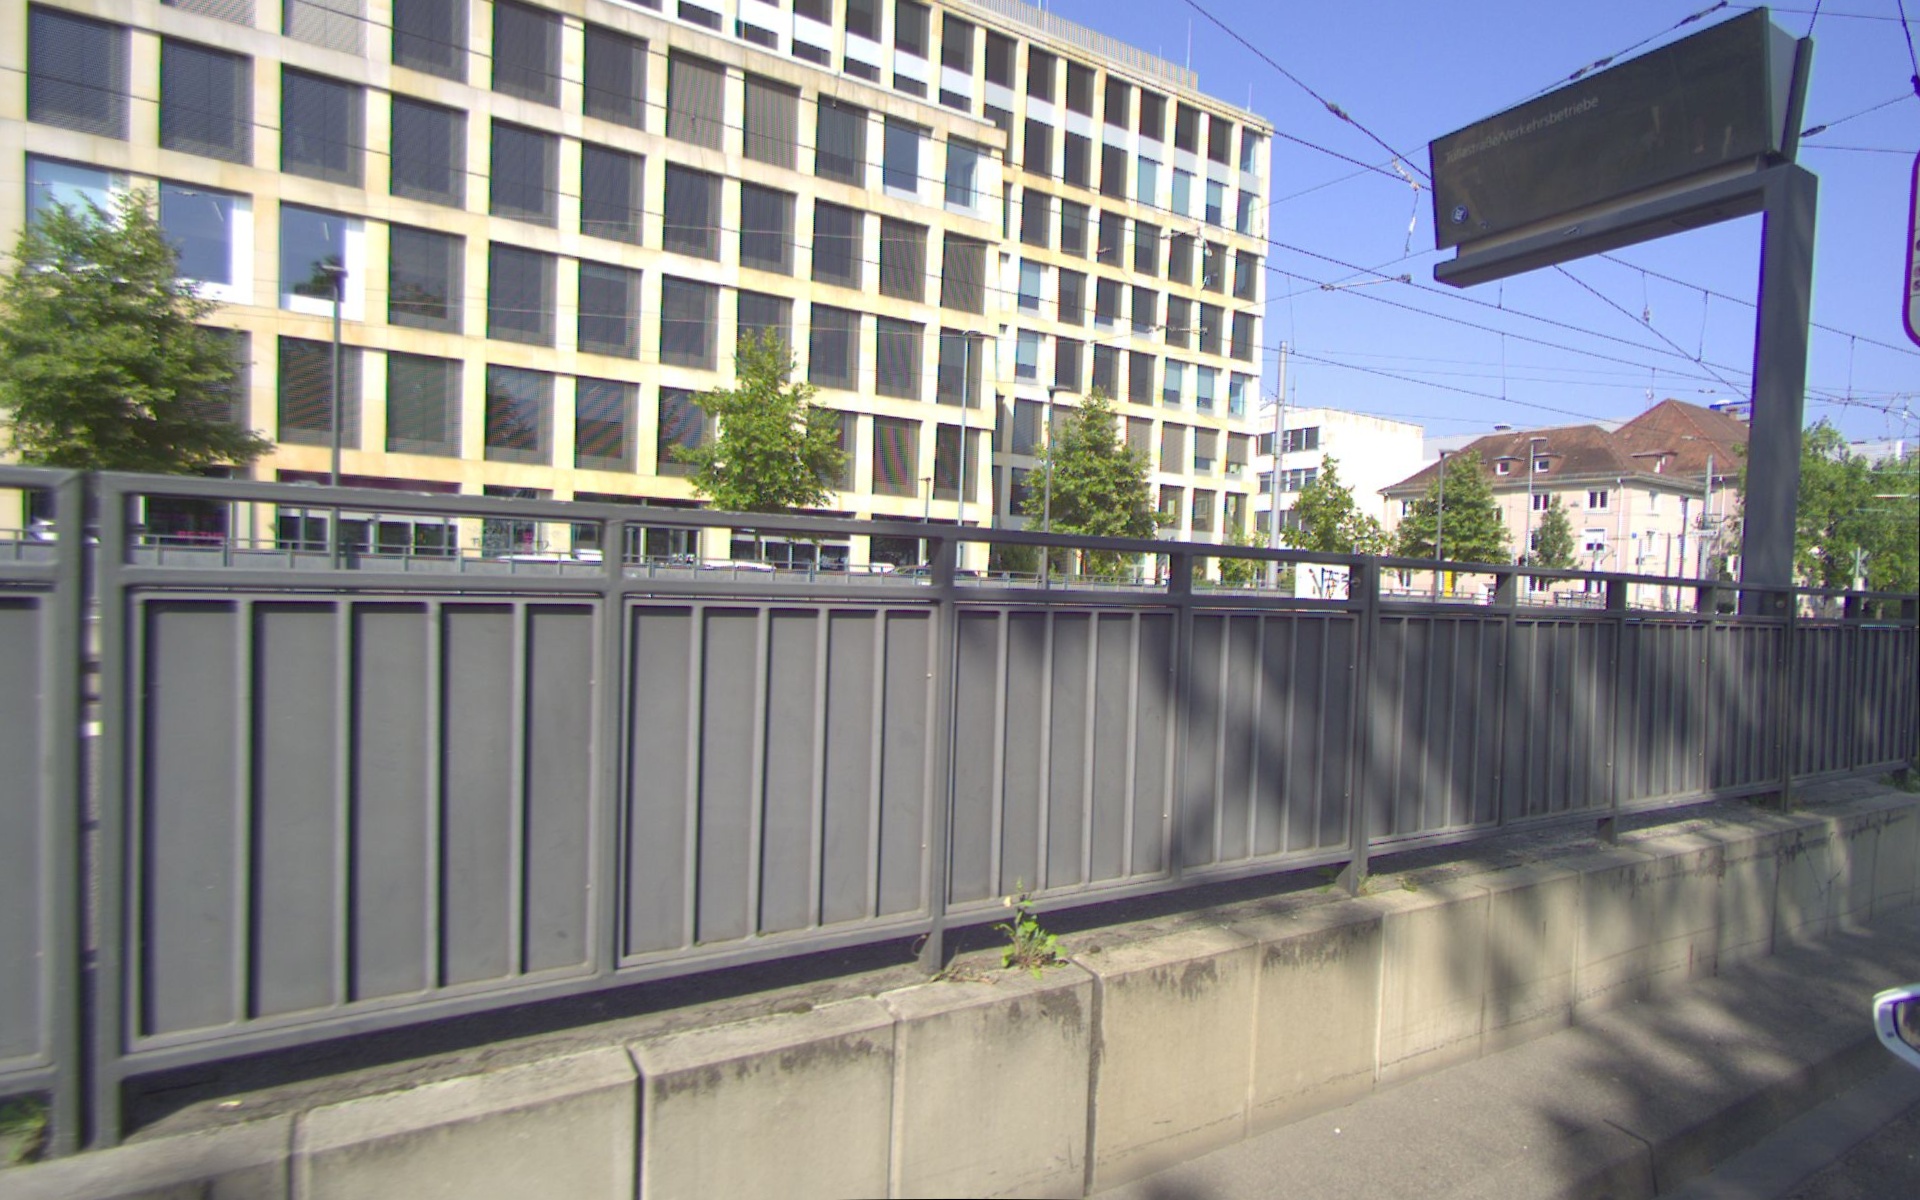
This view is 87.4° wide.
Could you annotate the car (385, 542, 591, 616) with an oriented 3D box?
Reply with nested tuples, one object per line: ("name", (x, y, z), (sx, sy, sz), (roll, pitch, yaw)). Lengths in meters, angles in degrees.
("car", (-10.455, -0.420, 22.333), (3.964, 1.465, 1.701), (1, 0, -33))

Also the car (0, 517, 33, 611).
("car", (-18.863, -0.681, 17.071), (4.263, 1.624, 1.754), (1, 1, -32))

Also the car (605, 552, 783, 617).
("car", (-6.594, -0.353, 25.032), (3.964, 1.465, 1.701), (1, 0, -33))
